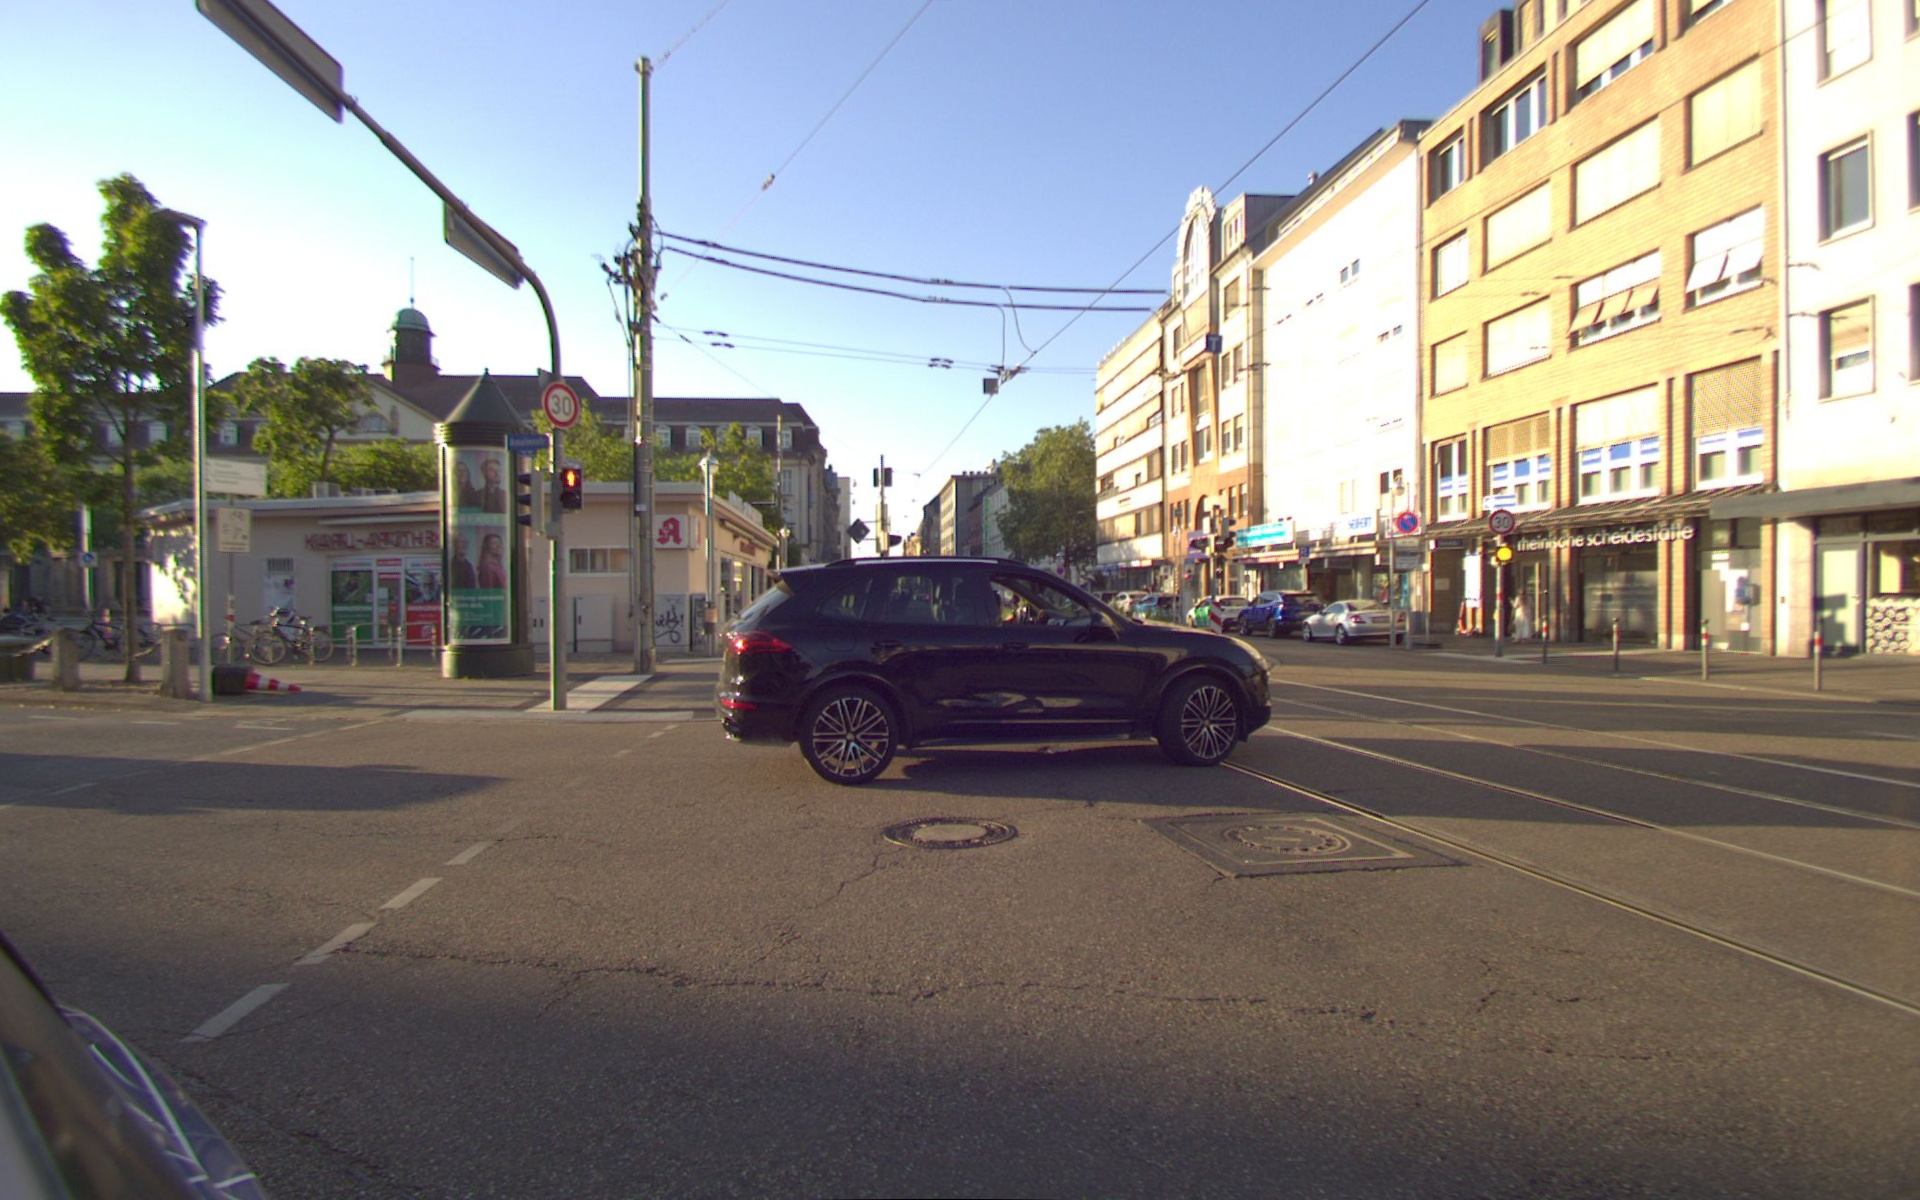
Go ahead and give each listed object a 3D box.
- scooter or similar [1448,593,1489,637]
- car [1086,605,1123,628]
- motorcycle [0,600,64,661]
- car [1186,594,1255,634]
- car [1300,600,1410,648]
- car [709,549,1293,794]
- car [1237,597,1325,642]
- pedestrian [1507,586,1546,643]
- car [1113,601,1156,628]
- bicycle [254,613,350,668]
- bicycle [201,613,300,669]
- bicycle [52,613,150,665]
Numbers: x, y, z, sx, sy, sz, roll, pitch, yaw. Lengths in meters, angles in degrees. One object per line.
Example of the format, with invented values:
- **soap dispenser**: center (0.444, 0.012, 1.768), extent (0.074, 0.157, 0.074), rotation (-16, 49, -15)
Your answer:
- **scooter or similar**: center (15.297, 0.448, 30.472), extent (0.389, 1.268, 1.468), rotation (-2, 0, -4)
- **car**: center (8.724, 0.969, 61.245), extent (1.438, 1.301, 3.150), rotation (-3, 0, -5)
- **motorcycle**: center (-23.046, 0.728, 24.226), extent (0.695, 1.457, 2.386), rotation (0, 0, 18)
- **car**: center (10.485, 0.571, 40.962), extent (1.612, 1.475, 3.392), rotation (-3, 0, -5)
- **car**: center (11.615, 0.696, 29.989), extent (1.612, 1.263, 3.392), rotation (-3, 0, -5)
- **car**: center (0.243, 0.474, 8.435), extent (4.493, 1.710, 1.811), rotation (-1, 0, -13)
- **car**: center (10.895, 0.637, 34.535), extent (1.612, 1.364, 3.392), rotation (-3, 0, -5)
- **pedestrian**: center (15.131, 0.391, 27.033), extent (0.534, 1.483, 0.627), rotation (-4, 0, -21)
- **car**: center (9.289, 0.762, 54.123), extent (1.438, 1.301, 3.150), rotation (-3, 0, -5)
- **bicycle**: center (-14.182, 0.852, 21.862), extent (0.445, 1.122, 1.860), rotation (0, 0, 19)
- **bicycle**: center (-15.354, 0.861, 21.955), extent (0.445, 1.122, 1.860), rotation (0, 0, 19)
- **bicycle**: center (-19.867, 0.882, 23.452), extent (0.392, 1.111, 1.801), rotation (0, 0, 18)
